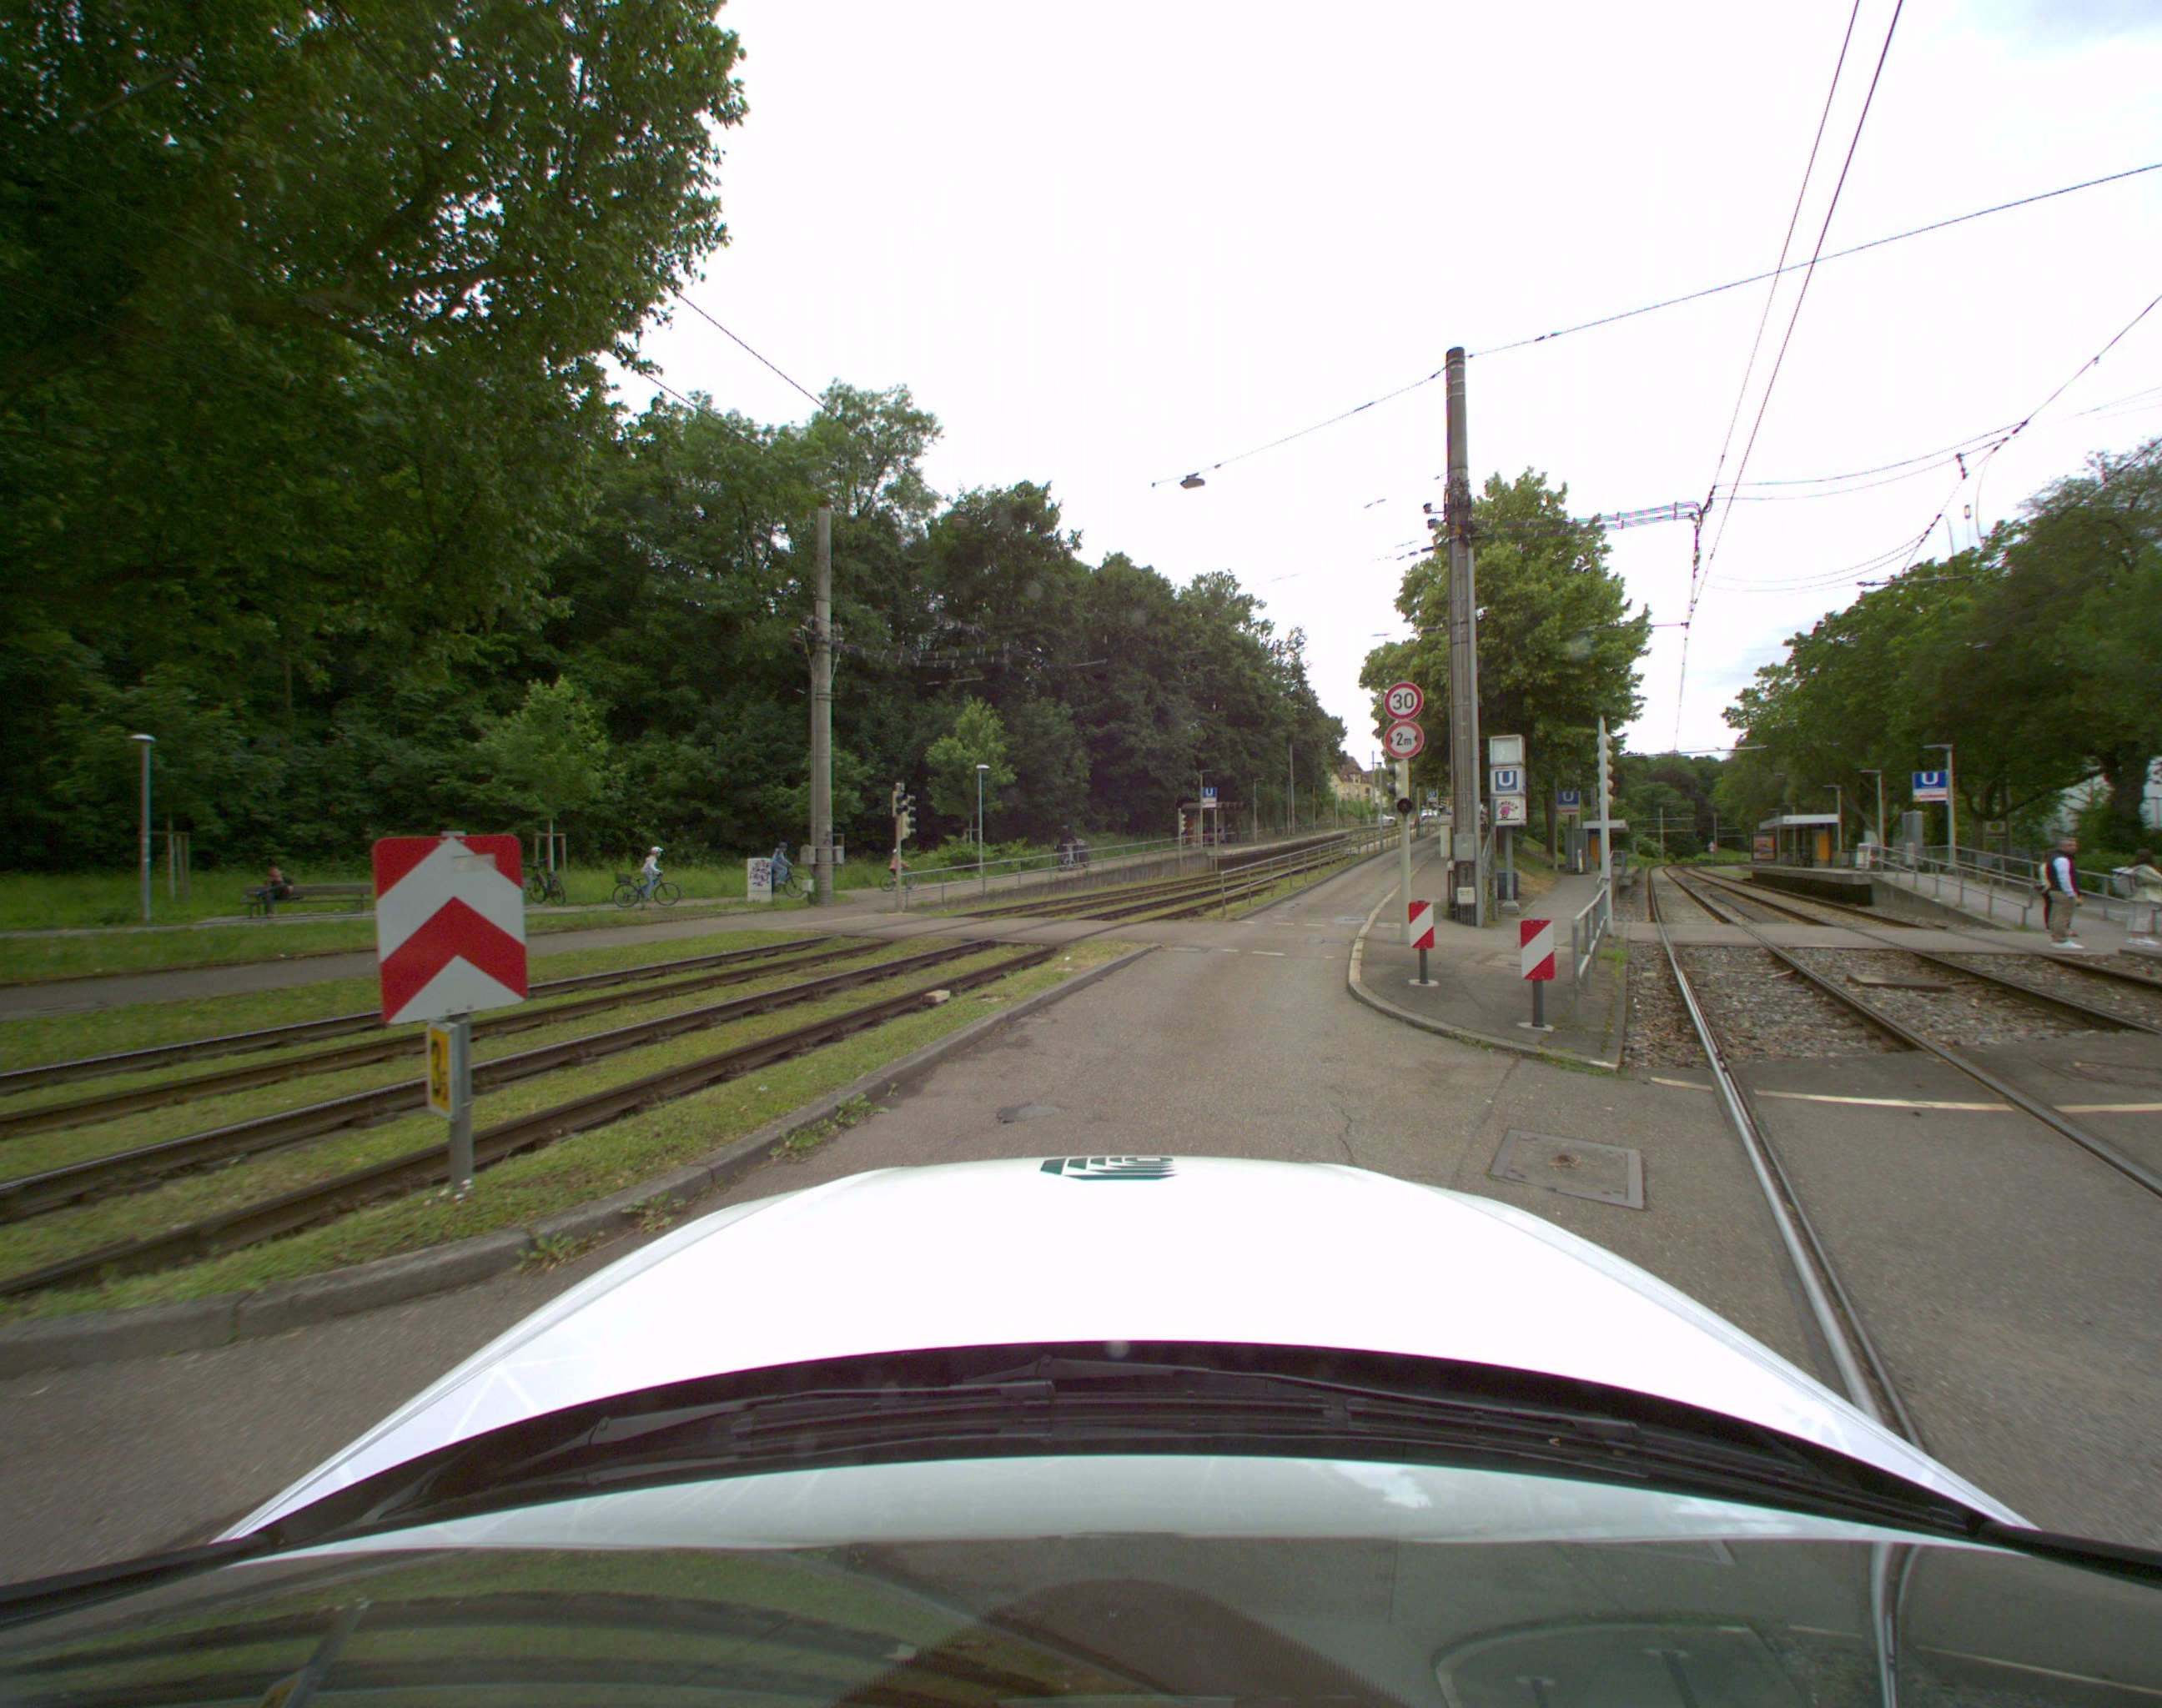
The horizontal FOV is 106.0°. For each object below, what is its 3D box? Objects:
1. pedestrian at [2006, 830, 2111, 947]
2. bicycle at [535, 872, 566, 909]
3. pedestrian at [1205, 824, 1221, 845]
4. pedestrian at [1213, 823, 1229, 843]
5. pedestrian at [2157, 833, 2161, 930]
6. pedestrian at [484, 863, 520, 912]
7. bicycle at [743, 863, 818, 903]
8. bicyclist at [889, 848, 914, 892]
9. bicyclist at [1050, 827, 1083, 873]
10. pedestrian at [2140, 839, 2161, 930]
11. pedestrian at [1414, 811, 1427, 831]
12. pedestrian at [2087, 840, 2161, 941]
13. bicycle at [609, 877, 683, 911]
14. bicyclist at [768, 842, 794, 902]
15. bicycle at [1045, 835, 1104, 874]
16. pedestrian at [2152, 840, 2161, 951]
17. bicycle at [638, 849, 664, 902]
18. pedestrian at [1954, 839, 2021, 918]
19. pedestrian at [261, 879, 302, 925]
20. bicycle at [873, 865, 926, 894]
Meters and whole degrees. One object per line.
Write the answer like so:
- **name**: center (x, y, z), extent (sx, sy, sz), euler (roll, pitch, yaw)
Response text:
- **pedestrian**: center (15.706, 0.533, 13.105), extent (0.799, 1.821, 0.671), euler (2, 1, 3)
- **bicycle**: center (-14.356, 0.972, 22.022), extent (0.625, 0.885, 1.728), euler (1, 1, -35)
- **pedestrian**: center (8.467, -1.237, 52.118), extent (0.764, 1.325, 0.792), euler (2, 3, 27)
- **pedestrian**: center (9.145, -1.370, 53.151), extent (0.764, 1.326, 0.792), euler (2, 1, 27)
- **pedestrian**: center (19.731, 0.501, 14.458), extent (0.544, 1.758, 0.742), euler (2, 1, 40)
- **pedestrian**: center (-15.067, 0.856, 21.186), extent (0.677, 1.235, 0.573), euler (1, 1, -41)
- **bicycle**: center (-8.640, 0.813, 23.455), extent (1.951, 1.041, 0.470), euler (-1, 3, -32)
- **bicyclist**: center (-5.637, 0.494, 25.602), extent (0.584, 1.300, 0.450), euler (-5, 6, -40)
- **bicyclist**: center (-0.554, -0.179, 32.147), extent (0.726, 1.710, 1.301), euler (2, 5, 30)
- **pedestrian**: center (20.259, 0.568, 15.030), extent (0.673, 1.665, 0.742), euler (2, 1, 39)
- **pedestrian**: center (24.405, -2.404, 58.517), extent (0.735, 1.409, 0.751), euler (2, 5, 27)
- **pedestrian**: center (18.067, 0.612, 13.991), extent (0.680, 1.665, 0.734), euler (1, 1, -13)
- **bicycle**: center (-11.303, 1.031, 21.188), extent (1.660, 0.738, 0.450), euler (-2, 4, -36)
- **bicyclist**: center (-8.637, 0.494, 23.439), extent (0.626, 1.674, 0.471), euler (-1, 3, -32)
- **bicycle**: center (-0.218, -0.016, 32.742), extent (0.726, 1.289, 3.369), euler (2, 5, 30)
- **pedestrian**: center (16.569, 0.634, 12.014), extent (0.728, 1.665, 0.686), euler (2, 1, 37)
- **bicycle**: center (-11.204, 0.560, 21.229), extent (0.518, 1.329, 0.450), euler (-2, 4, -36)
- **pedestrian**: center (19.791, 0.517, 17.802), extent (0.728, 1.665, 0.685), euler (2, 1, 25)
- **pedestrian**: center (-18.391, 1.094, 18.739), extent (0.623, 0.989, 0.526), euler (1, 1, -40)
- **bicycle**: center (-5.683, 0.784, 25.577), extent (1.567, 0.738, 0.450), euler (-5, 6, -41)
